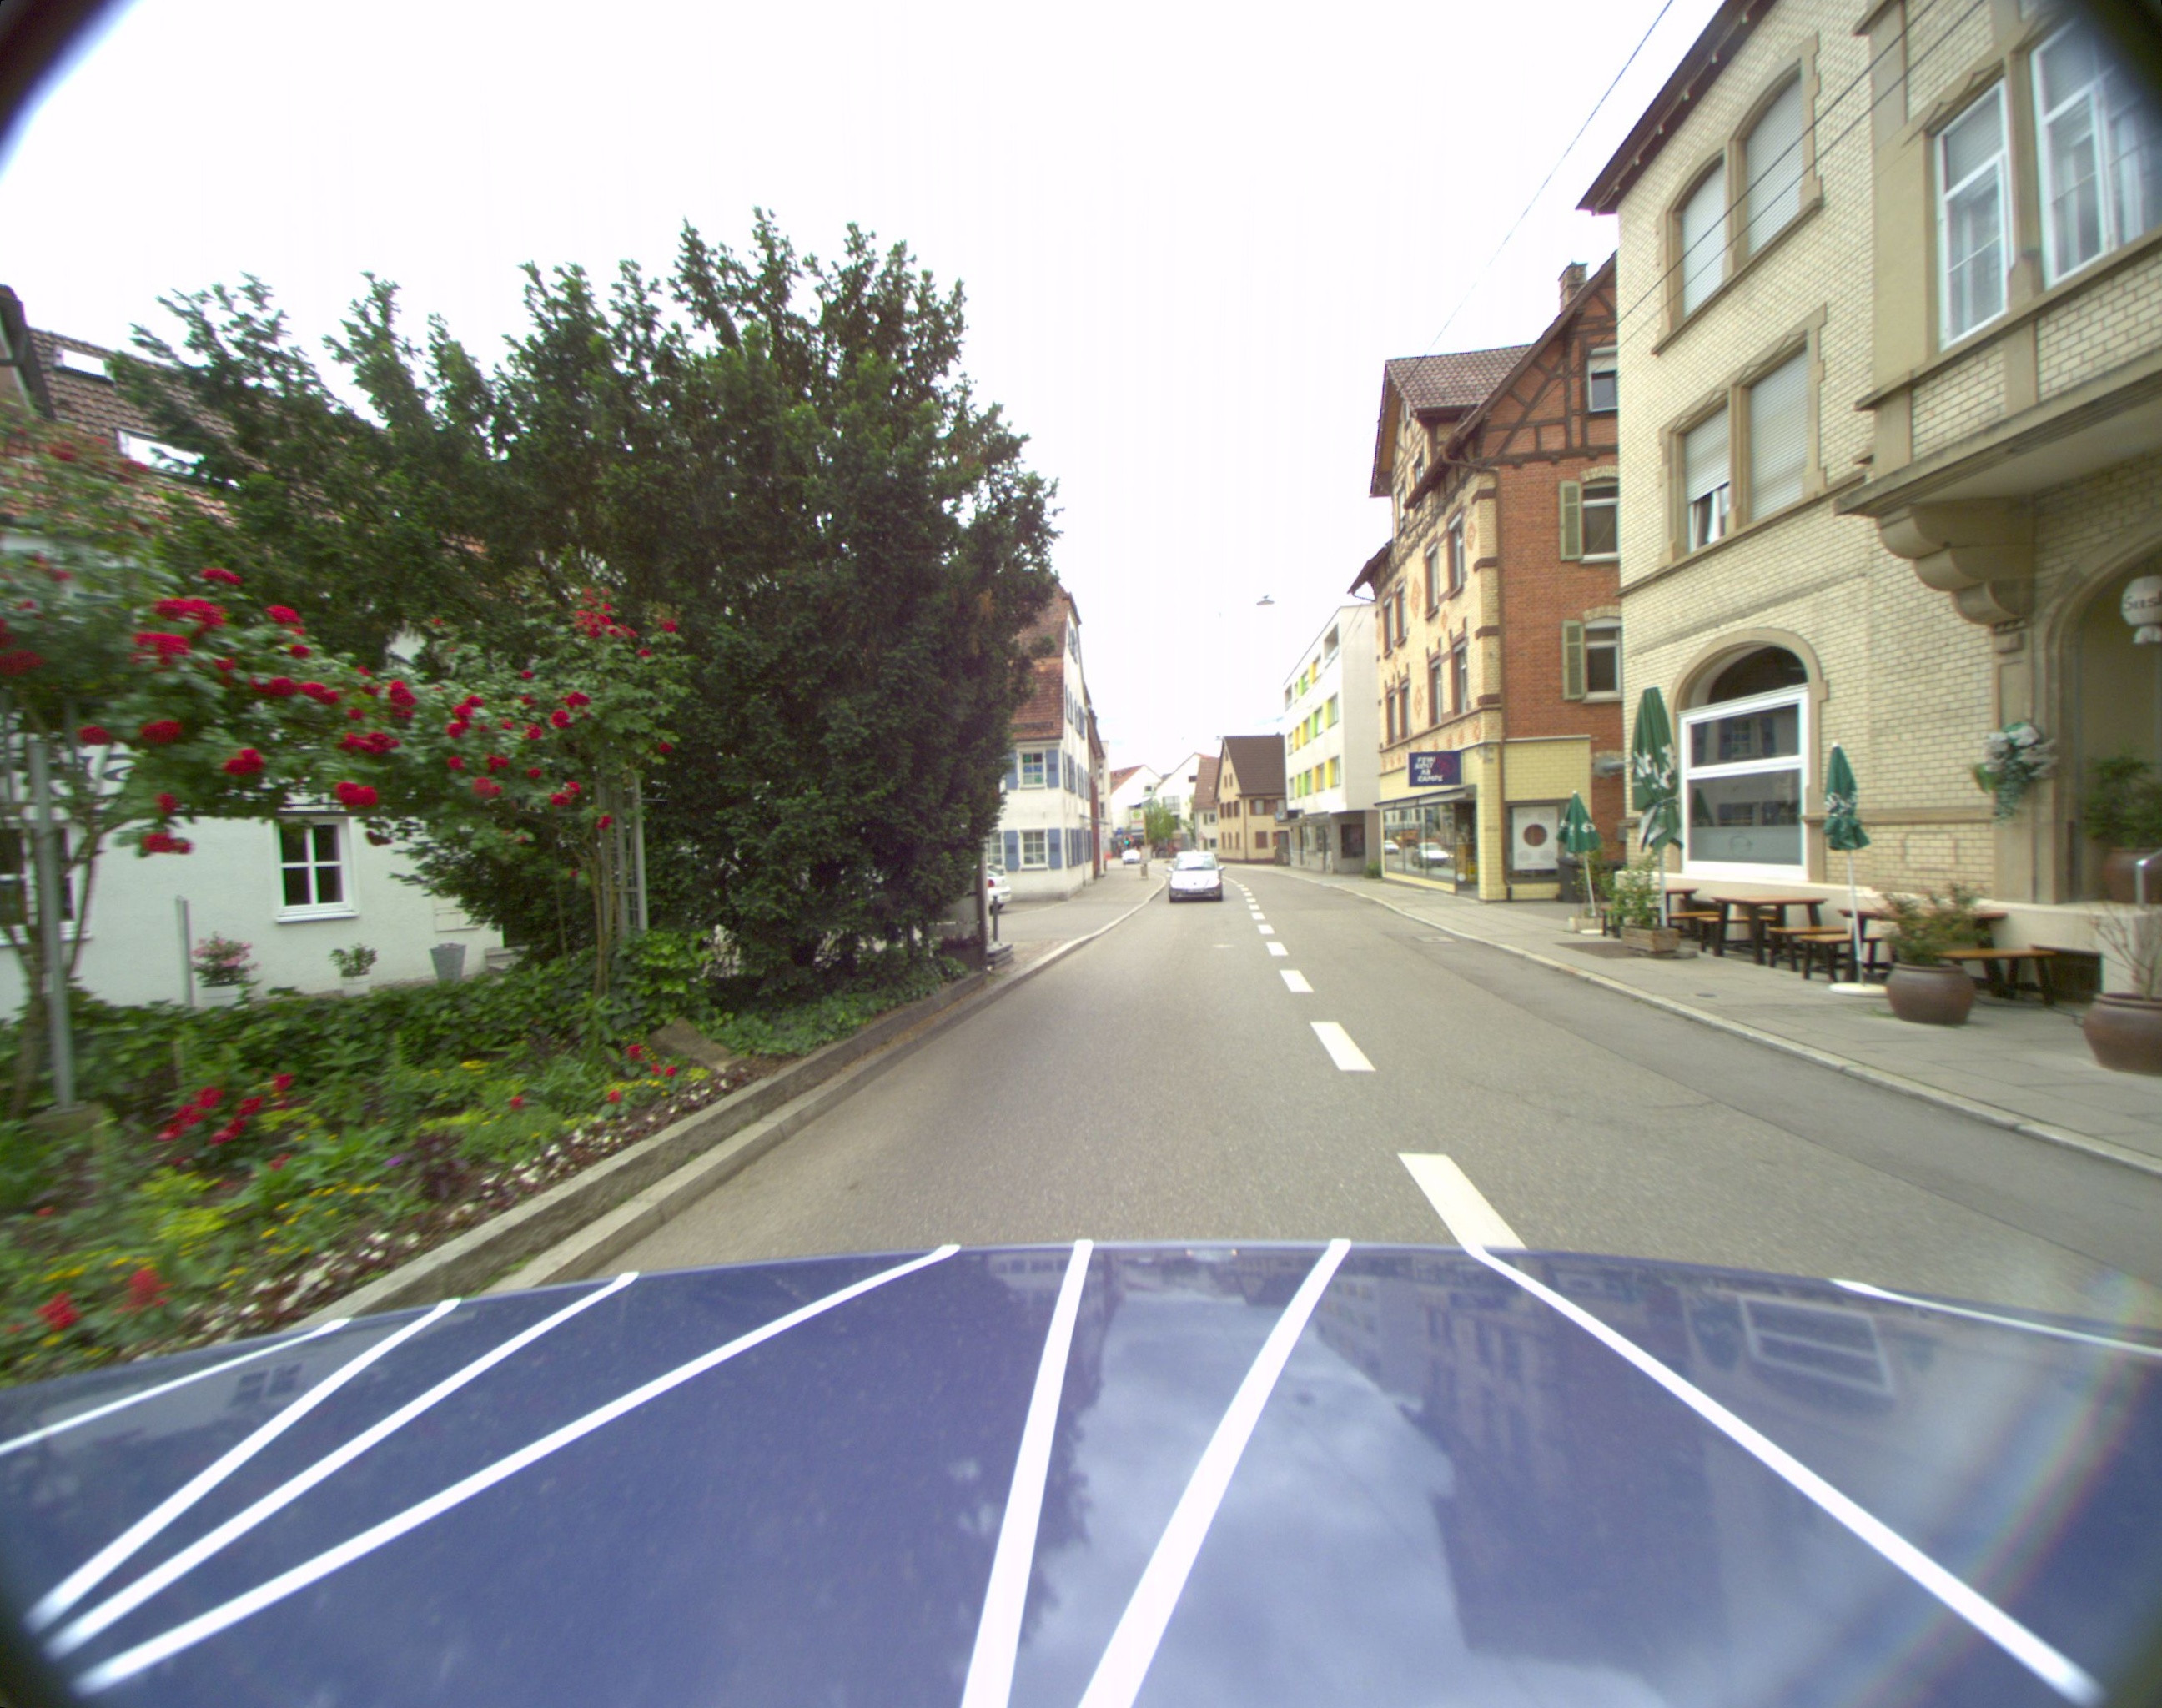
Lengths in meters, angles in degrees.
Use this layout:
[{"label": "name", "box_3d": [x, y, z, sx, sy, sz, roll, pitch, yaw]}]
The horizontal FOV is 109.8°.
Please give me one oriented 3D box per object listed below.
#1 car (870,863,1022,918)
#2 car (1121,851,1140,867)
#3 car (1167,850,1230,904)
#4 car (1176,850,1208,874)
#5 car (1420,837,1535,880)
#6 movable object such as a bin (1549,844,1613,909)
[{"label": "car", "box_3d": [-3.834, 1.042, 21.788, 3.797, 1.410, 1.899, -2, 1, 15]}, {"label": "car", "box_3d": [5.541, 0.521, 84.915, 2.000, 1.618, 4.000, -3, 1, 3]}, {"label": "car", "box_3d": [3.947, 0.712, 25.653, 1.893, 1.618, 4.002, -1, 0, 8]}, {"label": "car", "box_3d": [6.875, 0.445, 47.377, 1.754, 1.347, 4.001, -2, 1, 5]}, {"label": "car", "box_3d": [17.214, 0.181, 33.142, 4.004, 1.652, 1.887, -3, 1, 10]}, {"label": "movable object such as a bin", "box_3d": [11.557, 0.516, 17.582, 0.944, 1.371, 0.823, -4, 4, 10]}]
